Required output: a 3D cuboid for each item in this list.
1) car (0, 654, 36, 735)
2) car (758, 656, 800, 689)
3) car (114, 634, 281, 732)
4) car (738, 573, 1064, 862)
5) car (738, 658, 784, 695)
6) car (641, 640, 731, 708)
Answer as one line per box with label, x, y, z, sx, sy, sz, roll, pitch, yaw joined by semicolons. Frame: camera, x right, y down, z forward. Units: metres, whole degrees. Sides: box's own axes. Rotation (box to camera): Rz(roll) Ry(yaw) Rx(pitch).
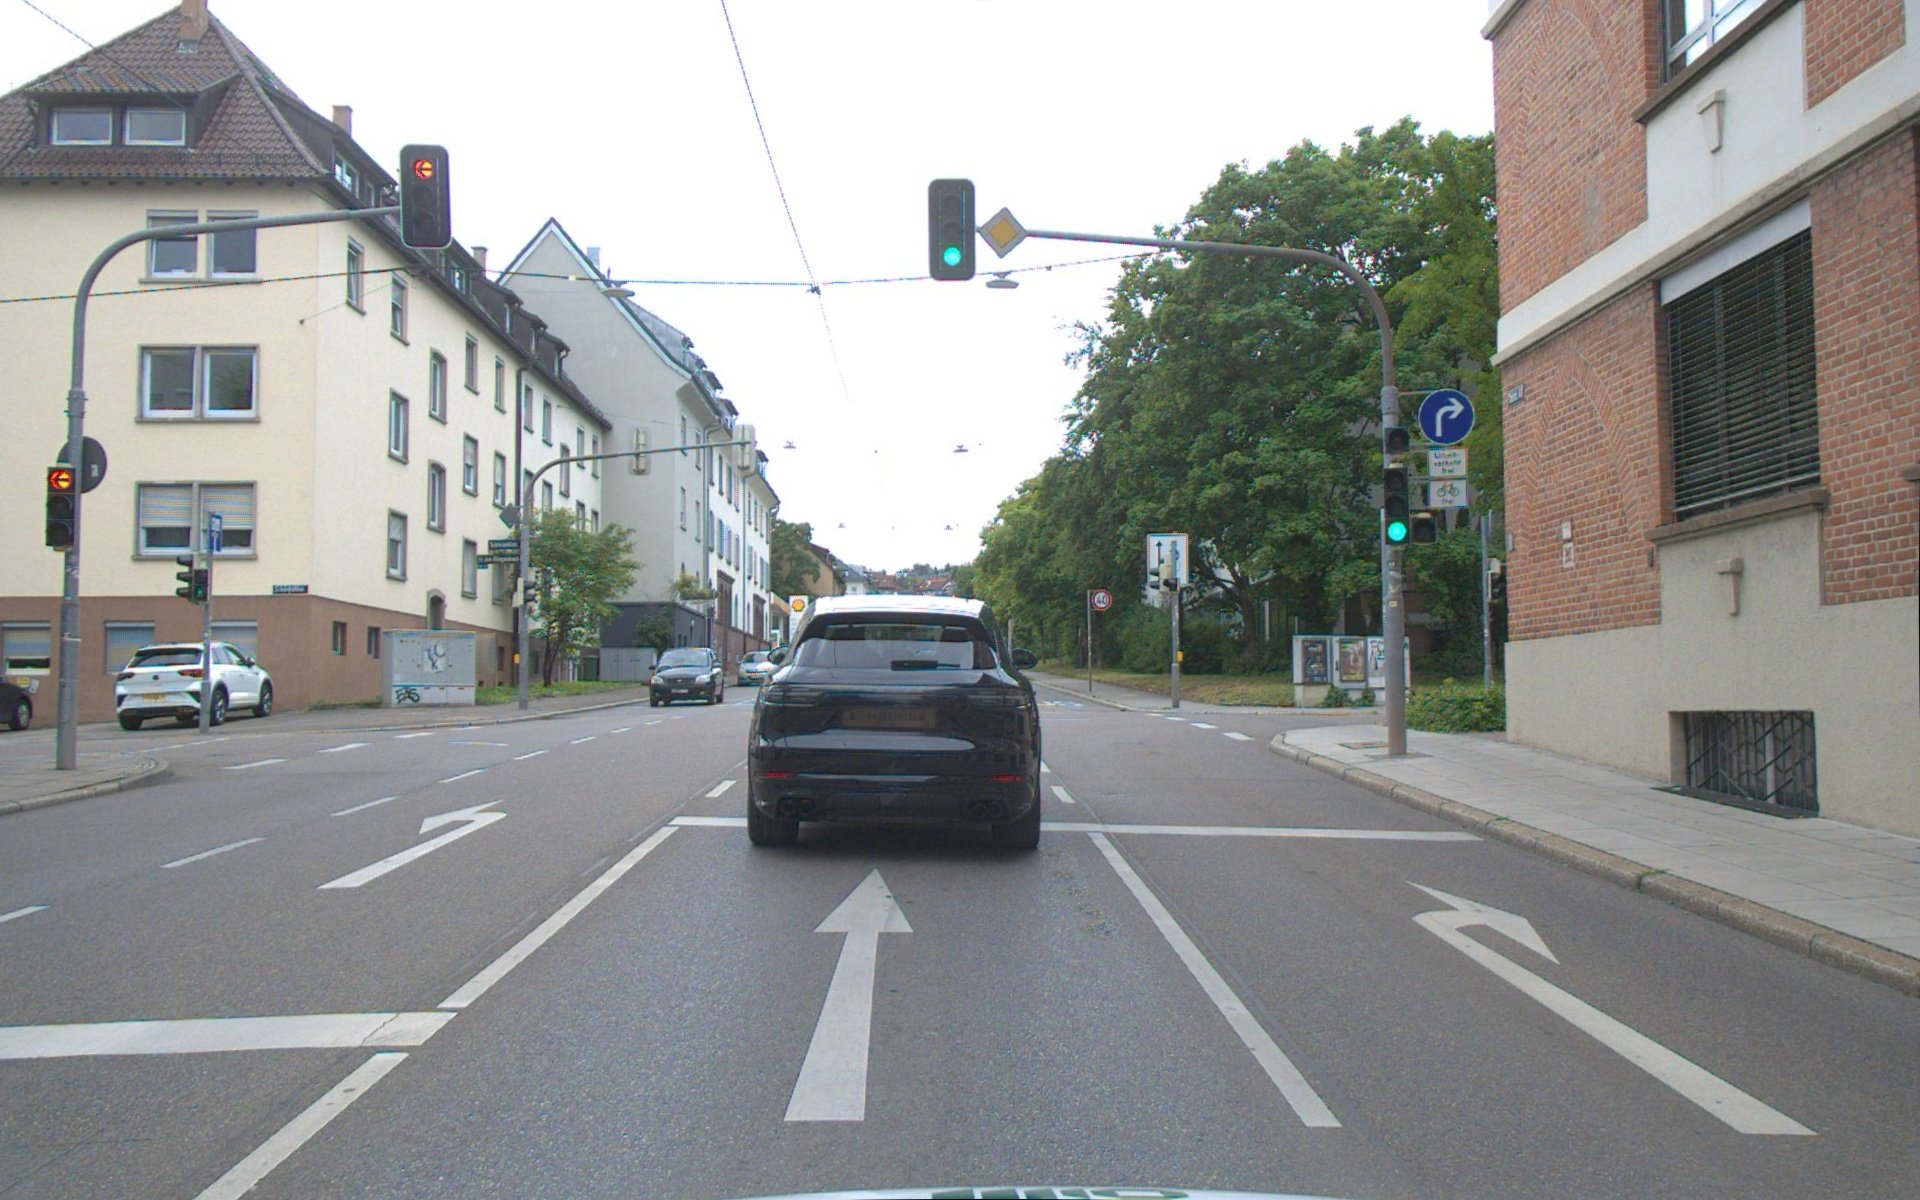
car;-19.632;1.893;31.598;1.636;1.573;4.100;-3;-1;-1
car;-8.255;3.275;75.530;1.636;1.386;3.998;0;-1;-3
car;-14.720;1.556;32.174;1.637;1.691;3.995;-3;-1;-5
car;-0.383;0.748;12.087;1.953;1.726;3.999;1;-1;-1
car;-8.144;3.122;68.041;1.637;1.386;3.997;0;-1;-4
car;-7.032;1.877;42.798;1.630;1.545;3.739;-3;-1;0
